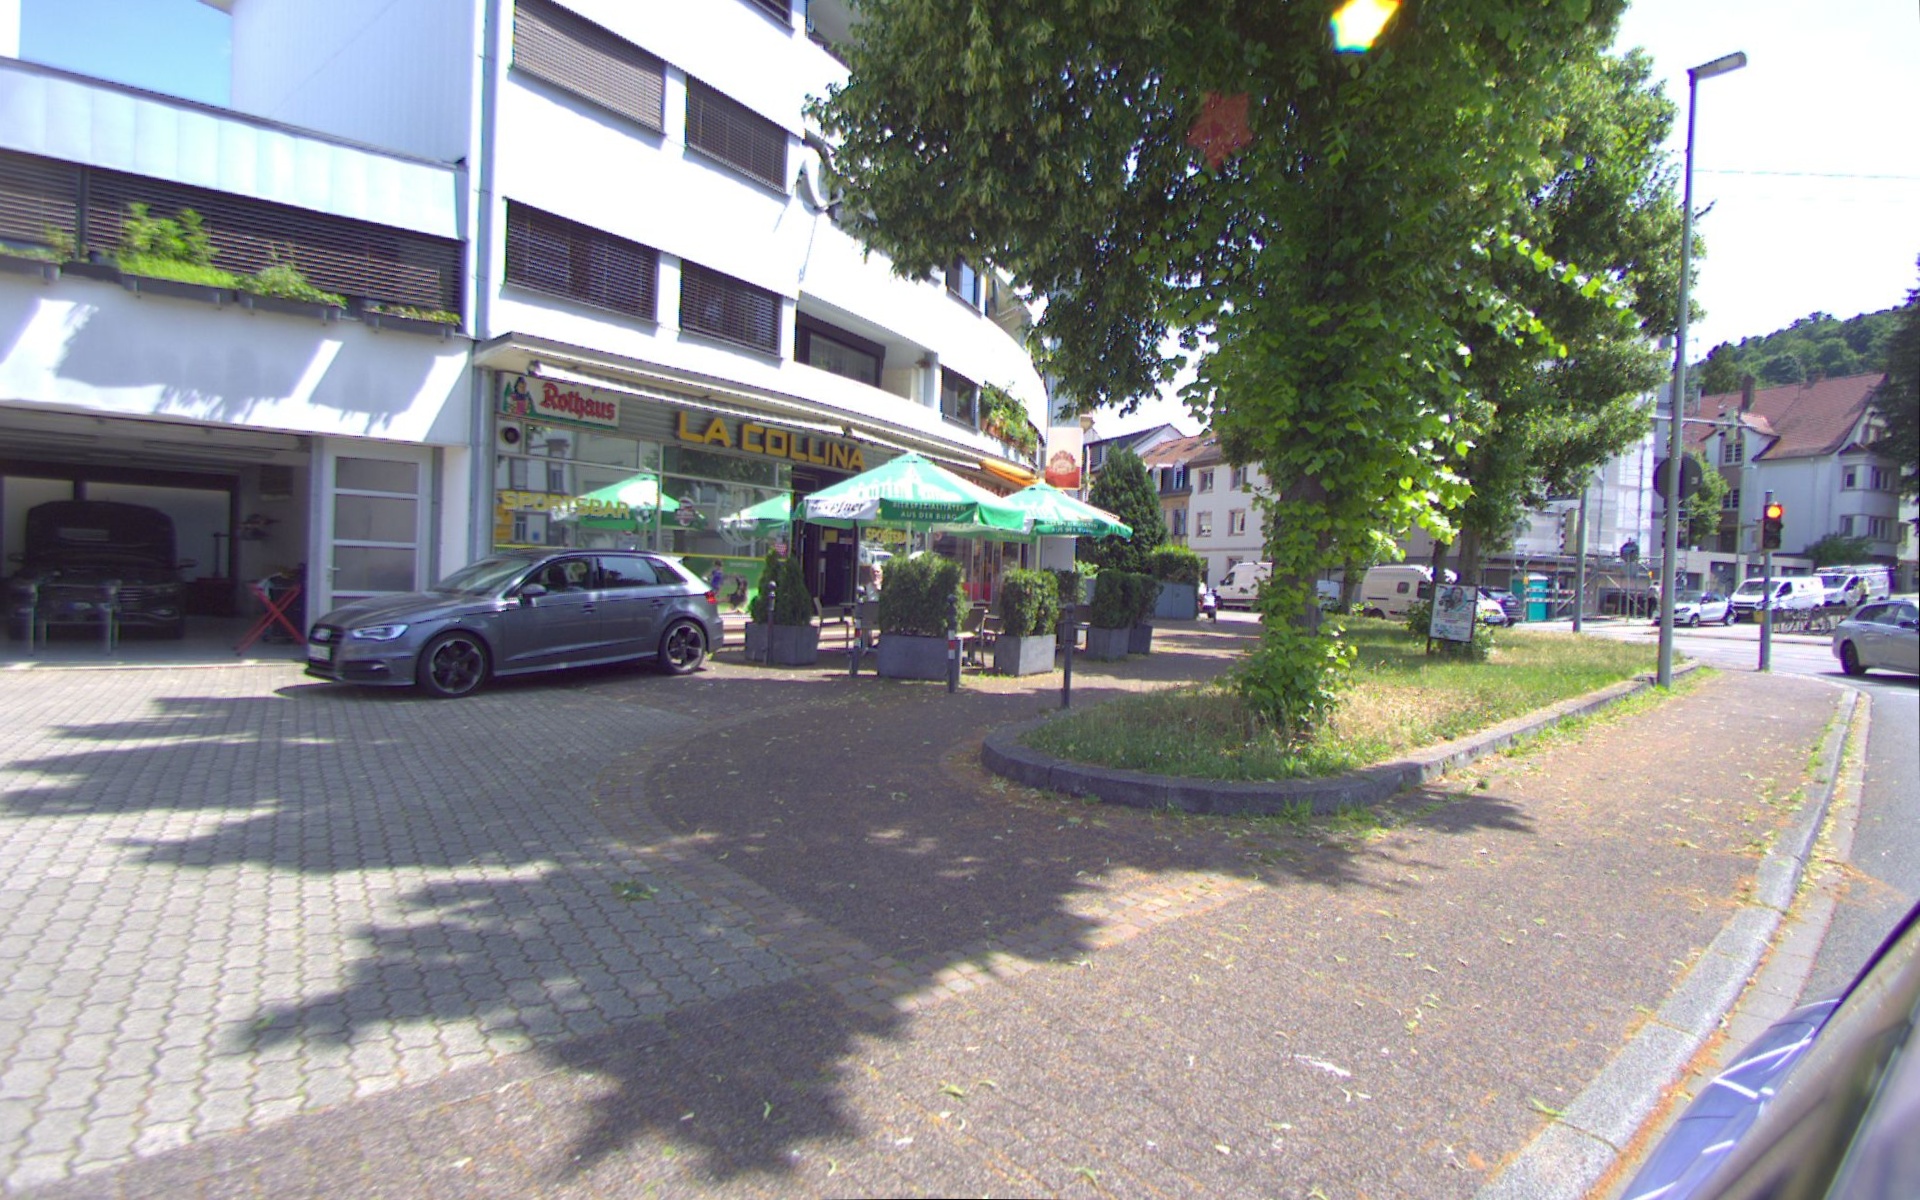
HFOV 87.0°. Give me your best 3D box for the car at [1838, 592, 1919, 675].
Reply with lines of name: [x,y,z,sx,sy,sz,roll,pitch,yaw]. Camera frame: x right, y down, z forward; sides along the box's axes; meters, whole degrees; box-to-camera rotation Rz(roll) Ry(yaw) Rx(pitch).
car: [17.359,0.583,17.514,1.797,1.396,4.363,1,1,20]

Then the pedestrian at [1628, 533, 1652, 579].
pedestrian: [30.452,-1.974,45.347,0.691,2.039,0.627,0,0,-25]

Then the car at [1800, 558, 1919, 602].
car: [43.747,-0.943,49.113,5.269,2.039,2.407,0,0,-23]

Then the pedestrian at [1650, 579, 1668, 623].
pedestrian: [32.804,0.059,47.492,0.701,2.039,0.618,0,0,37]

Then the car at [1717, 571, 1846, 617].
car: [37.755,-0.302,46.517,5.269,2.039,2.407,0,0,-23]

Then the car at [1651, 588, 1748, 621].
car: [32.426,0.190,44.346,4.070,1.386,1.535,0,0,-23]

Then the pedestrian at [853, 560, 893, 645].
pedestrian: [-1.335,0.036,15.613,0.565,1.286,0.607,0,0,0]

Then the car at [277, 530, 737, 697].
car: [-4.578,0.073,10.824,1.704,1.417,4.227,1,1,37]

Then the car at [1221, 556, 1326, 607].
car: [16.060,-0.929,52.206,2.210,2.440,5.455,0,0,-22]

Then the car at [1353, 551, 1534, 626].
car: [15.994,-0.387,33.860,1.959,2.300,5.454,0,0,-25]

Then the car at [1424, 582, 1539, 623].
car: [20.714,0.062,40.348,1.728,1.549,3.845,0,0,-23]

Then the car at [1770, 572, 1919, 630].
car: [33.831,-0.007,38.185,6.240,2.039,2.407,-1,0,-23]
